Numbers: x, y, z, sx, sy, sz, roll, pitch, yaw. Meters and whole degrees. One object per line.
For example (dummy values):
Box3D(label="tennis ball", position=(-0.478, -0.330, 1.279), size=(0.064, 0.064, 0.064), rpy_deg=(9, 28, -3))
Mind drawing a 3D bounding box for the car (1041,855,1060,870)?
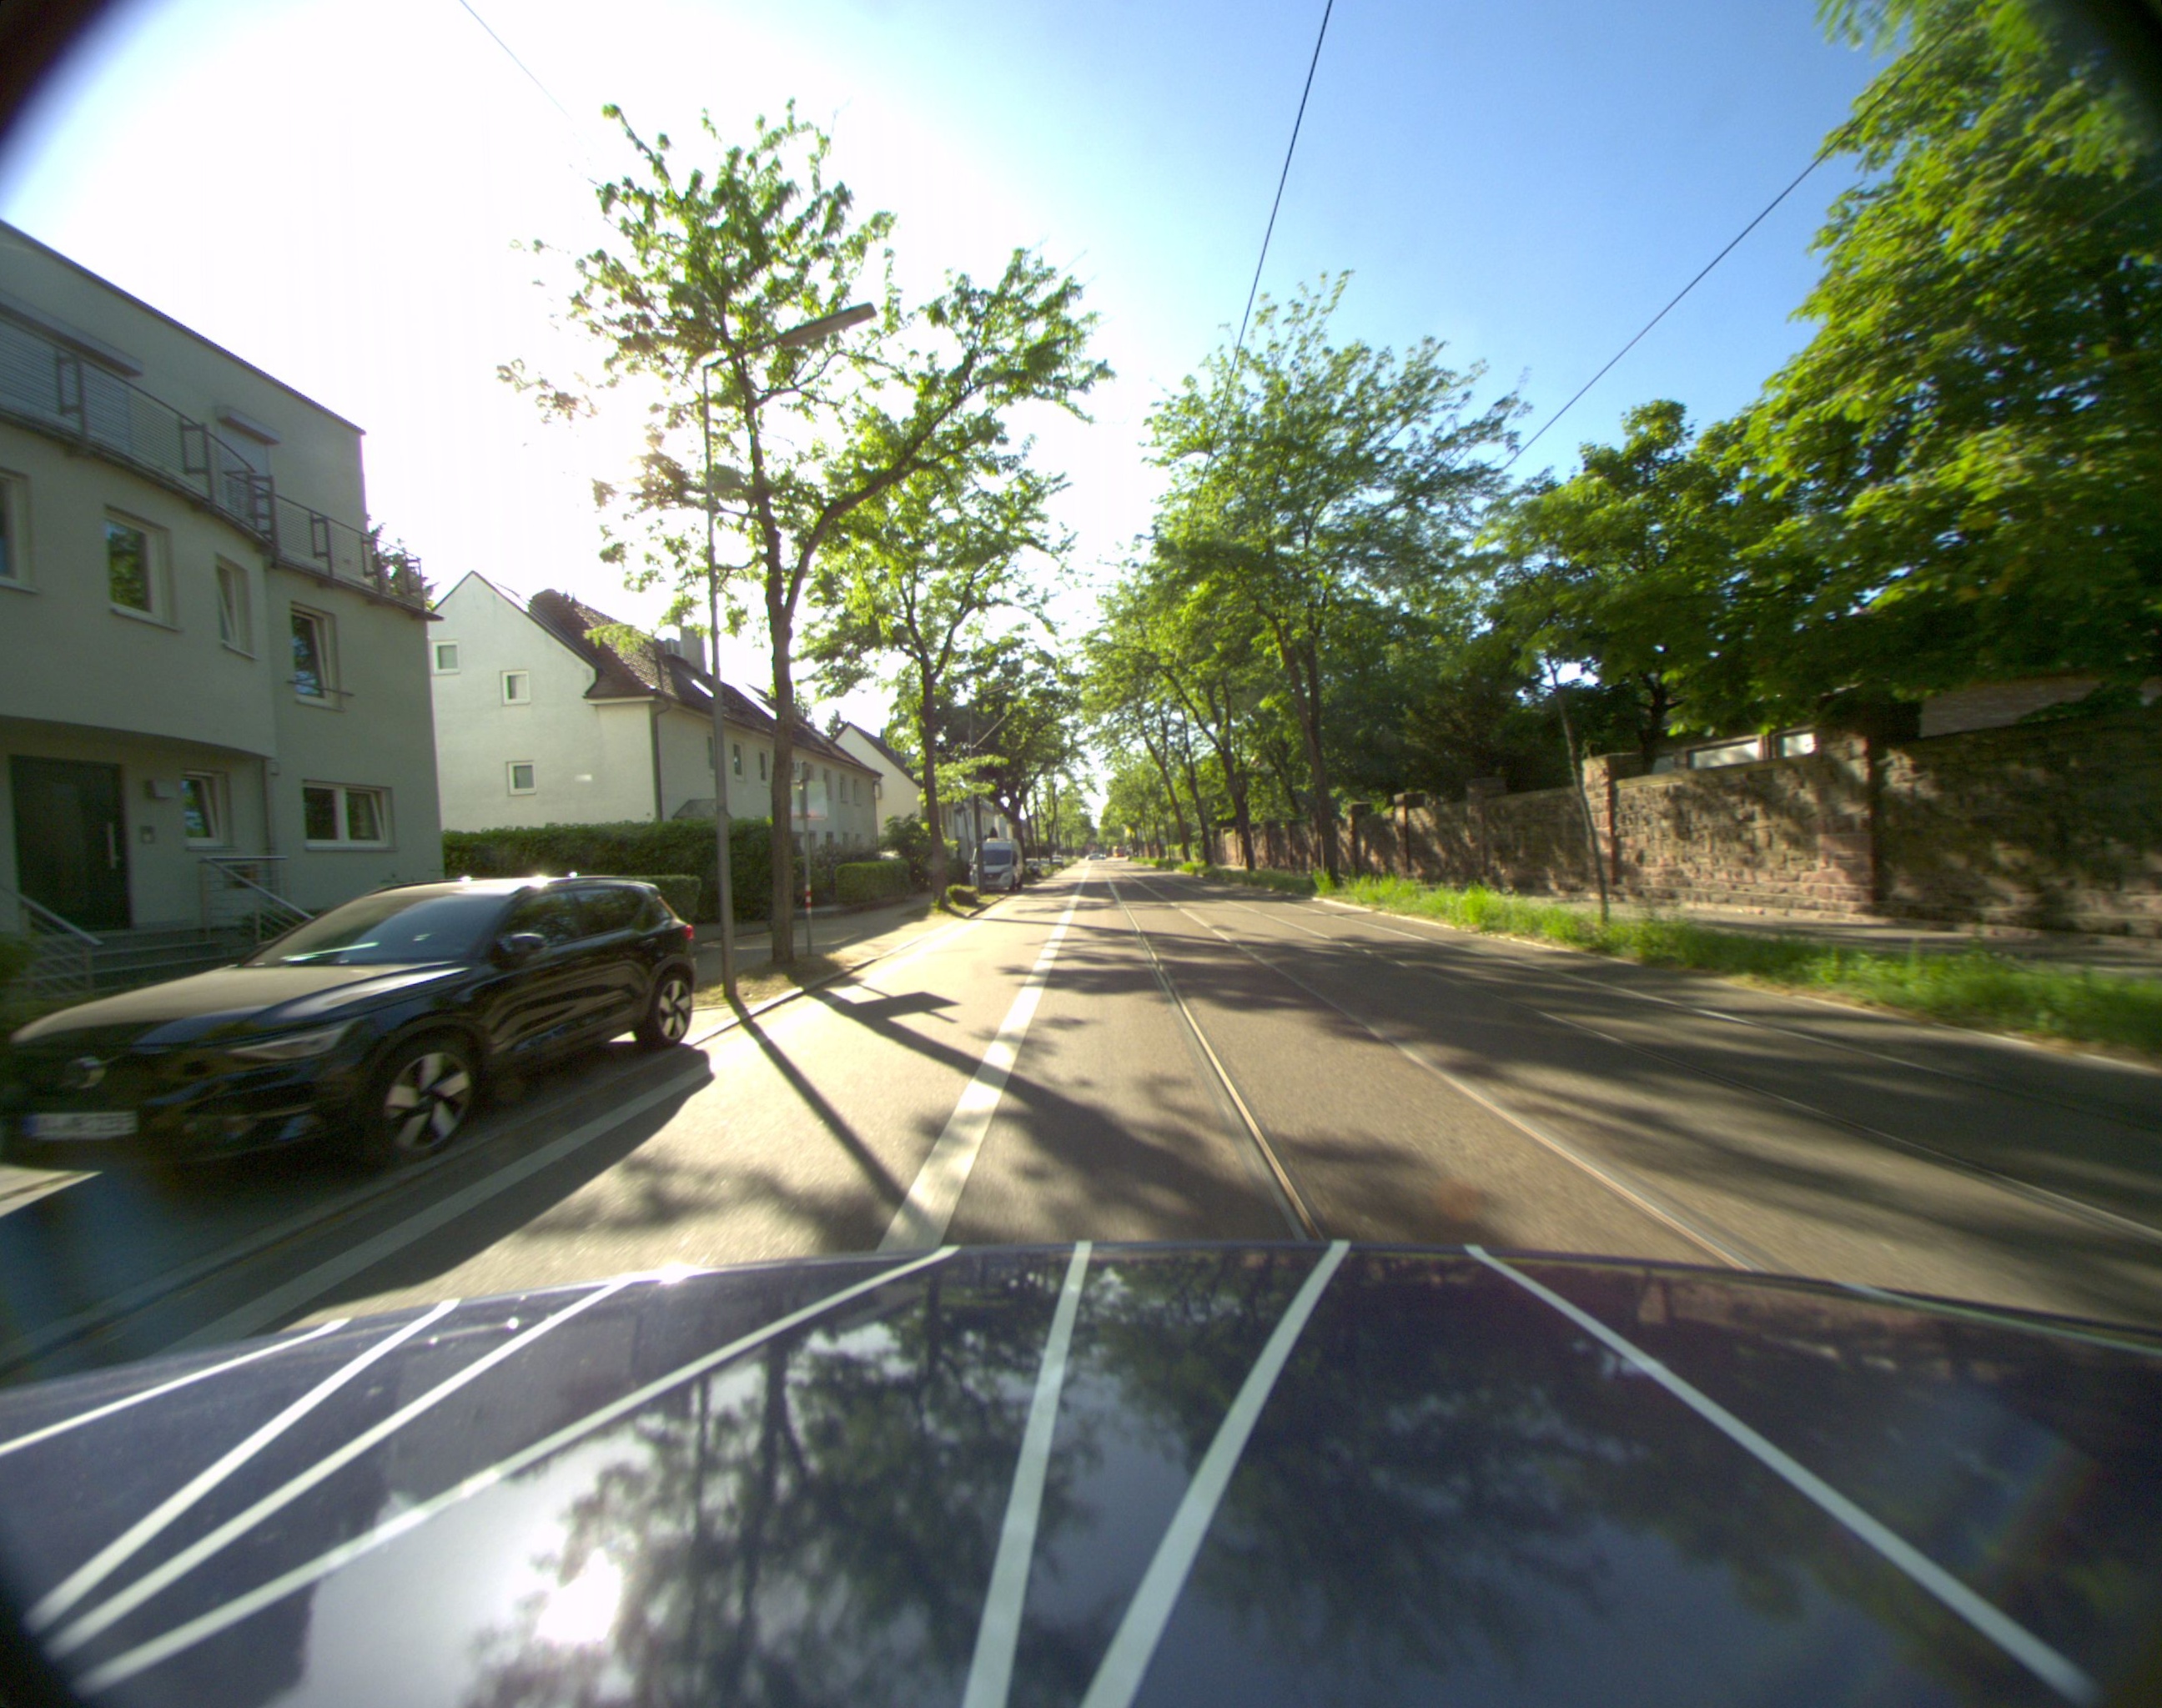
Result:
Box3D(label="car", position=(-3.347, 0.909, 83.485), size=(1.788, 1.369, 3.655), rpy_deg=(-3, 1, 1))

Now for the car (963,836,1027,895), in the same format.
Box3D(label="car", position=(-4.170, 0.496, 37.830), size=(2.297, 2.575, 5.718), rpy_deg=(-3, 1, 1))

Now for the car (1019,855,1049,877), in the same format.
Box3D(label="car", position=(-3.640, 0.916, 59.389), size=(1.663, 1.527, 4.001), rpy_deg=(-3, 0, 5))

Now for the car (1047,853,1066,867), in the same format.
Box3D(label="car", position=(-2.936, 0.710, 92.887), size=(1.998, 1.474, 4.000), rpy_deg=(-3, 0, 1))

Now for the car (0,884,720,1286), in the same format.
Box3D(label="car", position=(-4.789, 1.152, 5.718), size=(1.881, 1.509, 4.648), rpy_deg=(-3, 1, -1))

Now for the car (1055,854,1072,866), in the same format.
Box3D(label="car", position=(-2.395, 0.834, 104.852), size=(1.998, 1.411, 3.998), rpy_deg=(-3, 3, 1))
